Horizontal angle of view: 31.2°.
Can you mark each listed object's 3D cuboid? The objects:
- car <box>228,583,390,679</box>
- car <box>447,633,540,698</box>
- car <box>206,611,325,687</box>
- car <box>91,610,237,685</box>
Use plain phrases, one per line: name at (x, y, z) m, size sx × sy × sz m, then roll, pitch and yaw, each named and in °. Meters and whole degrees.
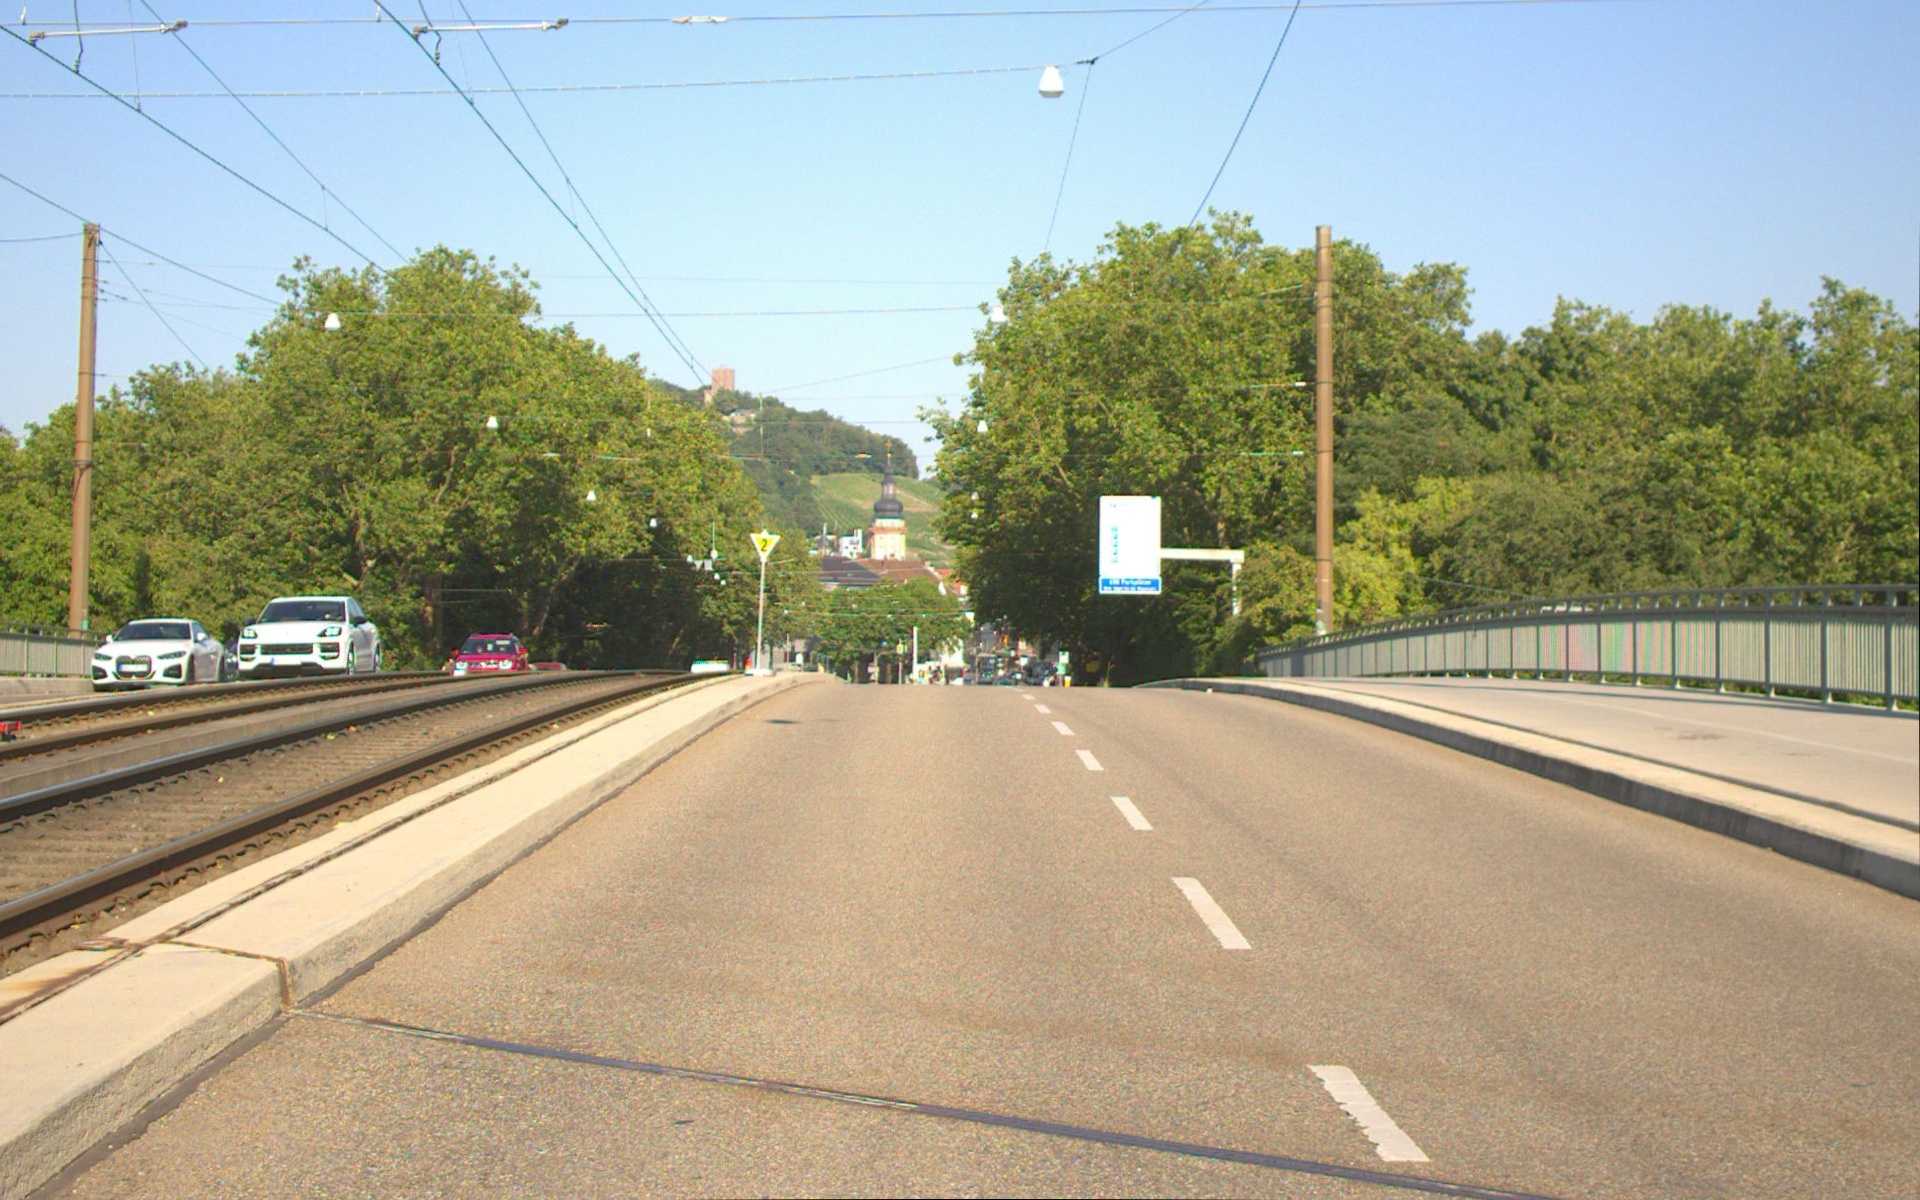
car at (-11.729, 0.546, 62.270) m, size 2.001 × 1.631 × 5.090 m, roll 1°, pitch 0°, yaw 0°
car at (-11.808, 1.673, 87.212) m, size 1.808 × 1.515 × 3.999 m, roll 2°, pitch -2°, yaw 0°
car at (-15.563, 1.074, 77.220) m, size 1.779 × 1.645 × 4.447 m, roll 1°, pitch 0°, yaw 0°
car at (-15.215, 0.879, 65.918) m, size 1.684 × 1.352 × 4.920 m, roll 1°, pitch 0°, yaw 0°
